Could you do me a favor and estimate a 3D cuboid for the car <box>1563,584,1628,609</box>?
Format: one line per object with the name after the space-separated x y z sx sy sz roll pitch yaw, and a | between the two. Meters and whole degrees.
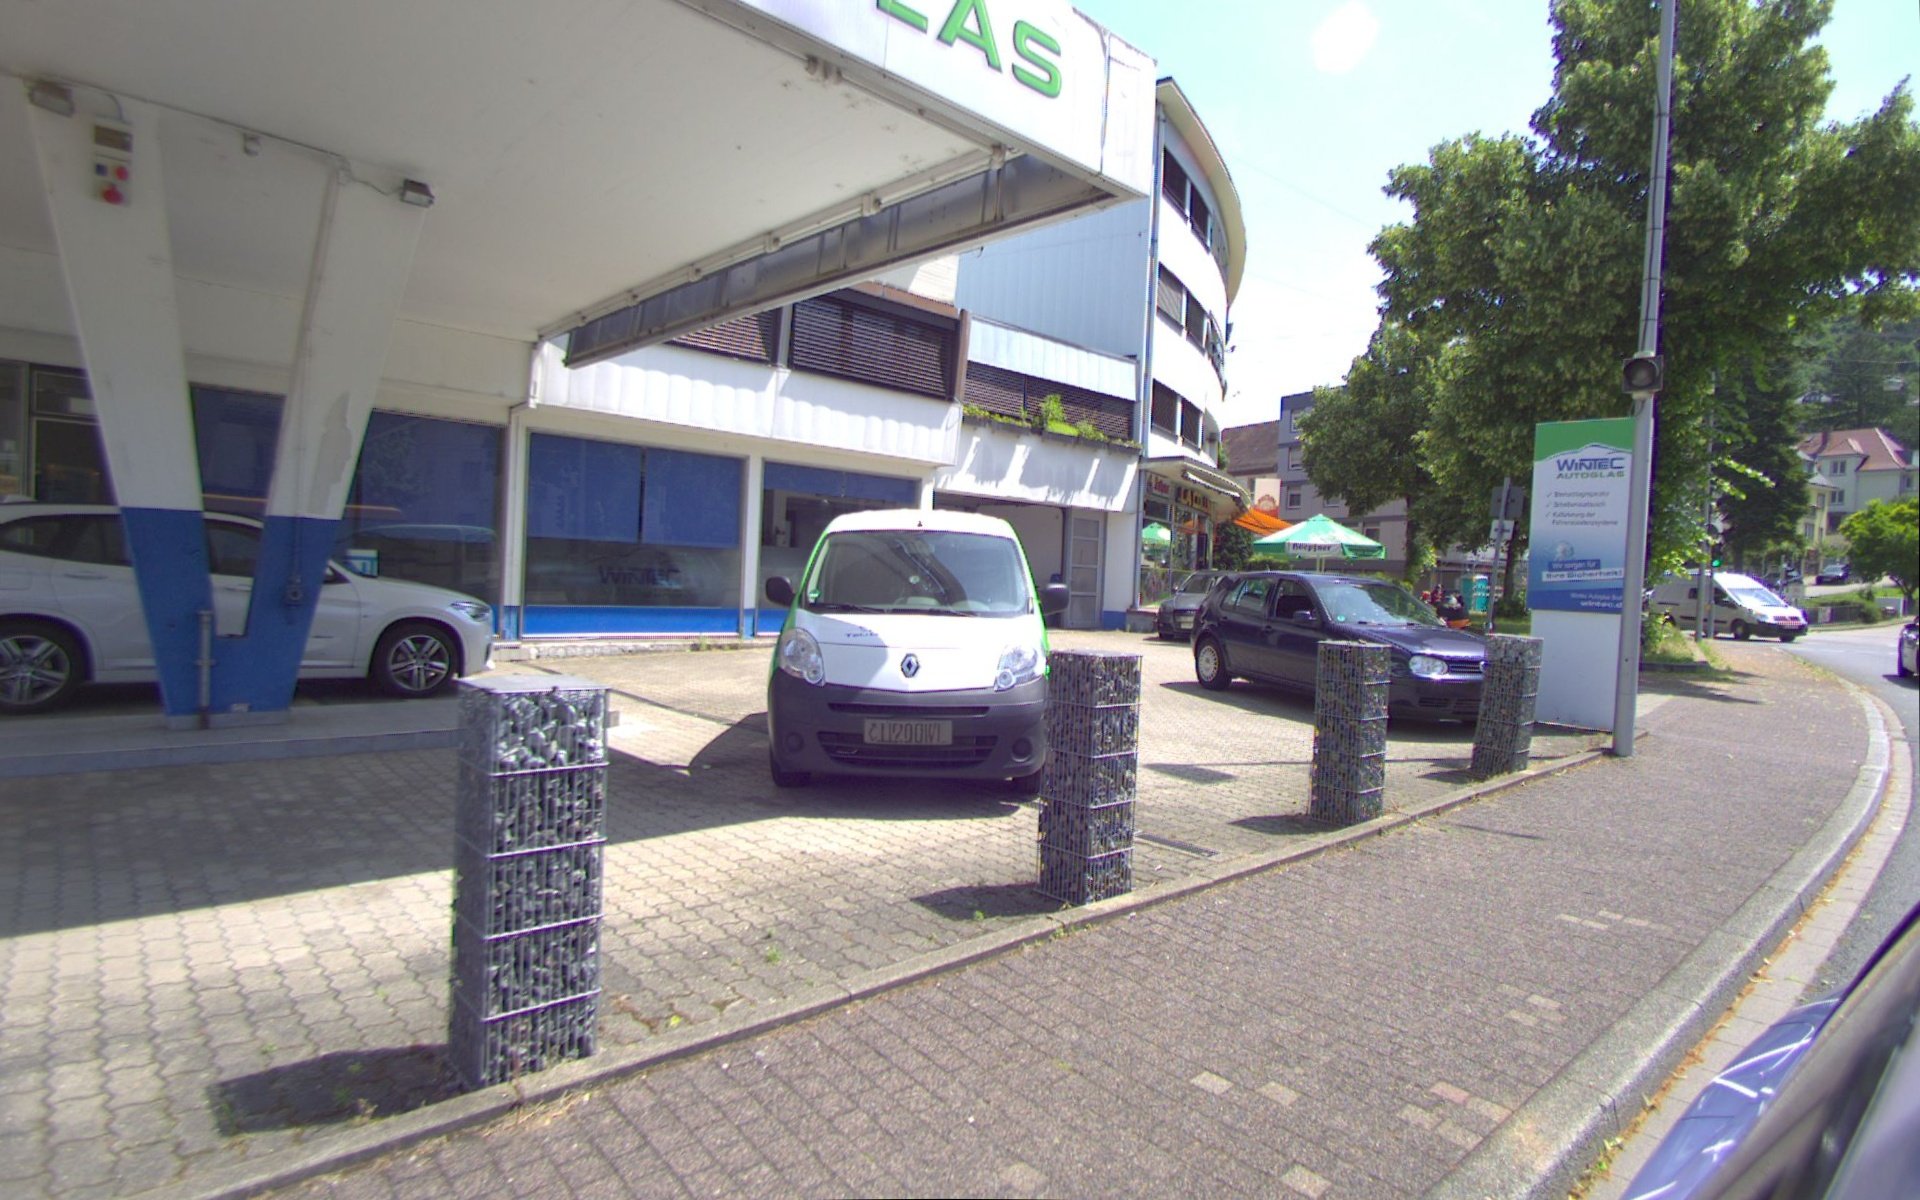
37.555 -0.225 59.777 4.074 1.386 1.534 -1 1 -31 | car

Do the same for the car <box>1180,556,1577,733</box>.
4.117 0.321 10.754 1.664 1.446 3.984 2 3 -18 | car

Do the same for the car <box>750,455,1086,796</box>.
-0.312 0.095 7.545 1.788 1.812 4.292 0 1 -2 | car

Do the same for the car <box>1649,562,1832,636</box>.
26.438 -0.081 34.585 1.962 2.300 5.446 0 1 -1 | car

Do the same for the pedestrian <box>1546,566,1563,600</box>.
35.578 -1.026 60.551 0.692 2.039 0.626 0 0 -33 | pedestrian

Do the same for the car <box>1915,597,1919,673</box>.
18.416 0.682 18.068 1.813 1.396 4.326 2 2 41 | car

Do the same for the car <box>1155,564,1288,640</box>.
5.565 -0.012 21.209 1.698 1.417 4.240 1 2 29 | car

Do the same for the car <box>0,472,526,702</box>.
-6.447 -0.122 8.760 4.623 1.646 1.749 0 2 -41 | car

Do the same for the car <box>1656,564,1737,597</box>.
48.098 -1.268 66.103 5.274 2.039 2.404 -1 1 -31 | car

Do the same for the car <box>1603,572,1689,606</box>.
42.527 -0.713 62.683 5.274 2.039 2.404 -1 1 -31 | car
